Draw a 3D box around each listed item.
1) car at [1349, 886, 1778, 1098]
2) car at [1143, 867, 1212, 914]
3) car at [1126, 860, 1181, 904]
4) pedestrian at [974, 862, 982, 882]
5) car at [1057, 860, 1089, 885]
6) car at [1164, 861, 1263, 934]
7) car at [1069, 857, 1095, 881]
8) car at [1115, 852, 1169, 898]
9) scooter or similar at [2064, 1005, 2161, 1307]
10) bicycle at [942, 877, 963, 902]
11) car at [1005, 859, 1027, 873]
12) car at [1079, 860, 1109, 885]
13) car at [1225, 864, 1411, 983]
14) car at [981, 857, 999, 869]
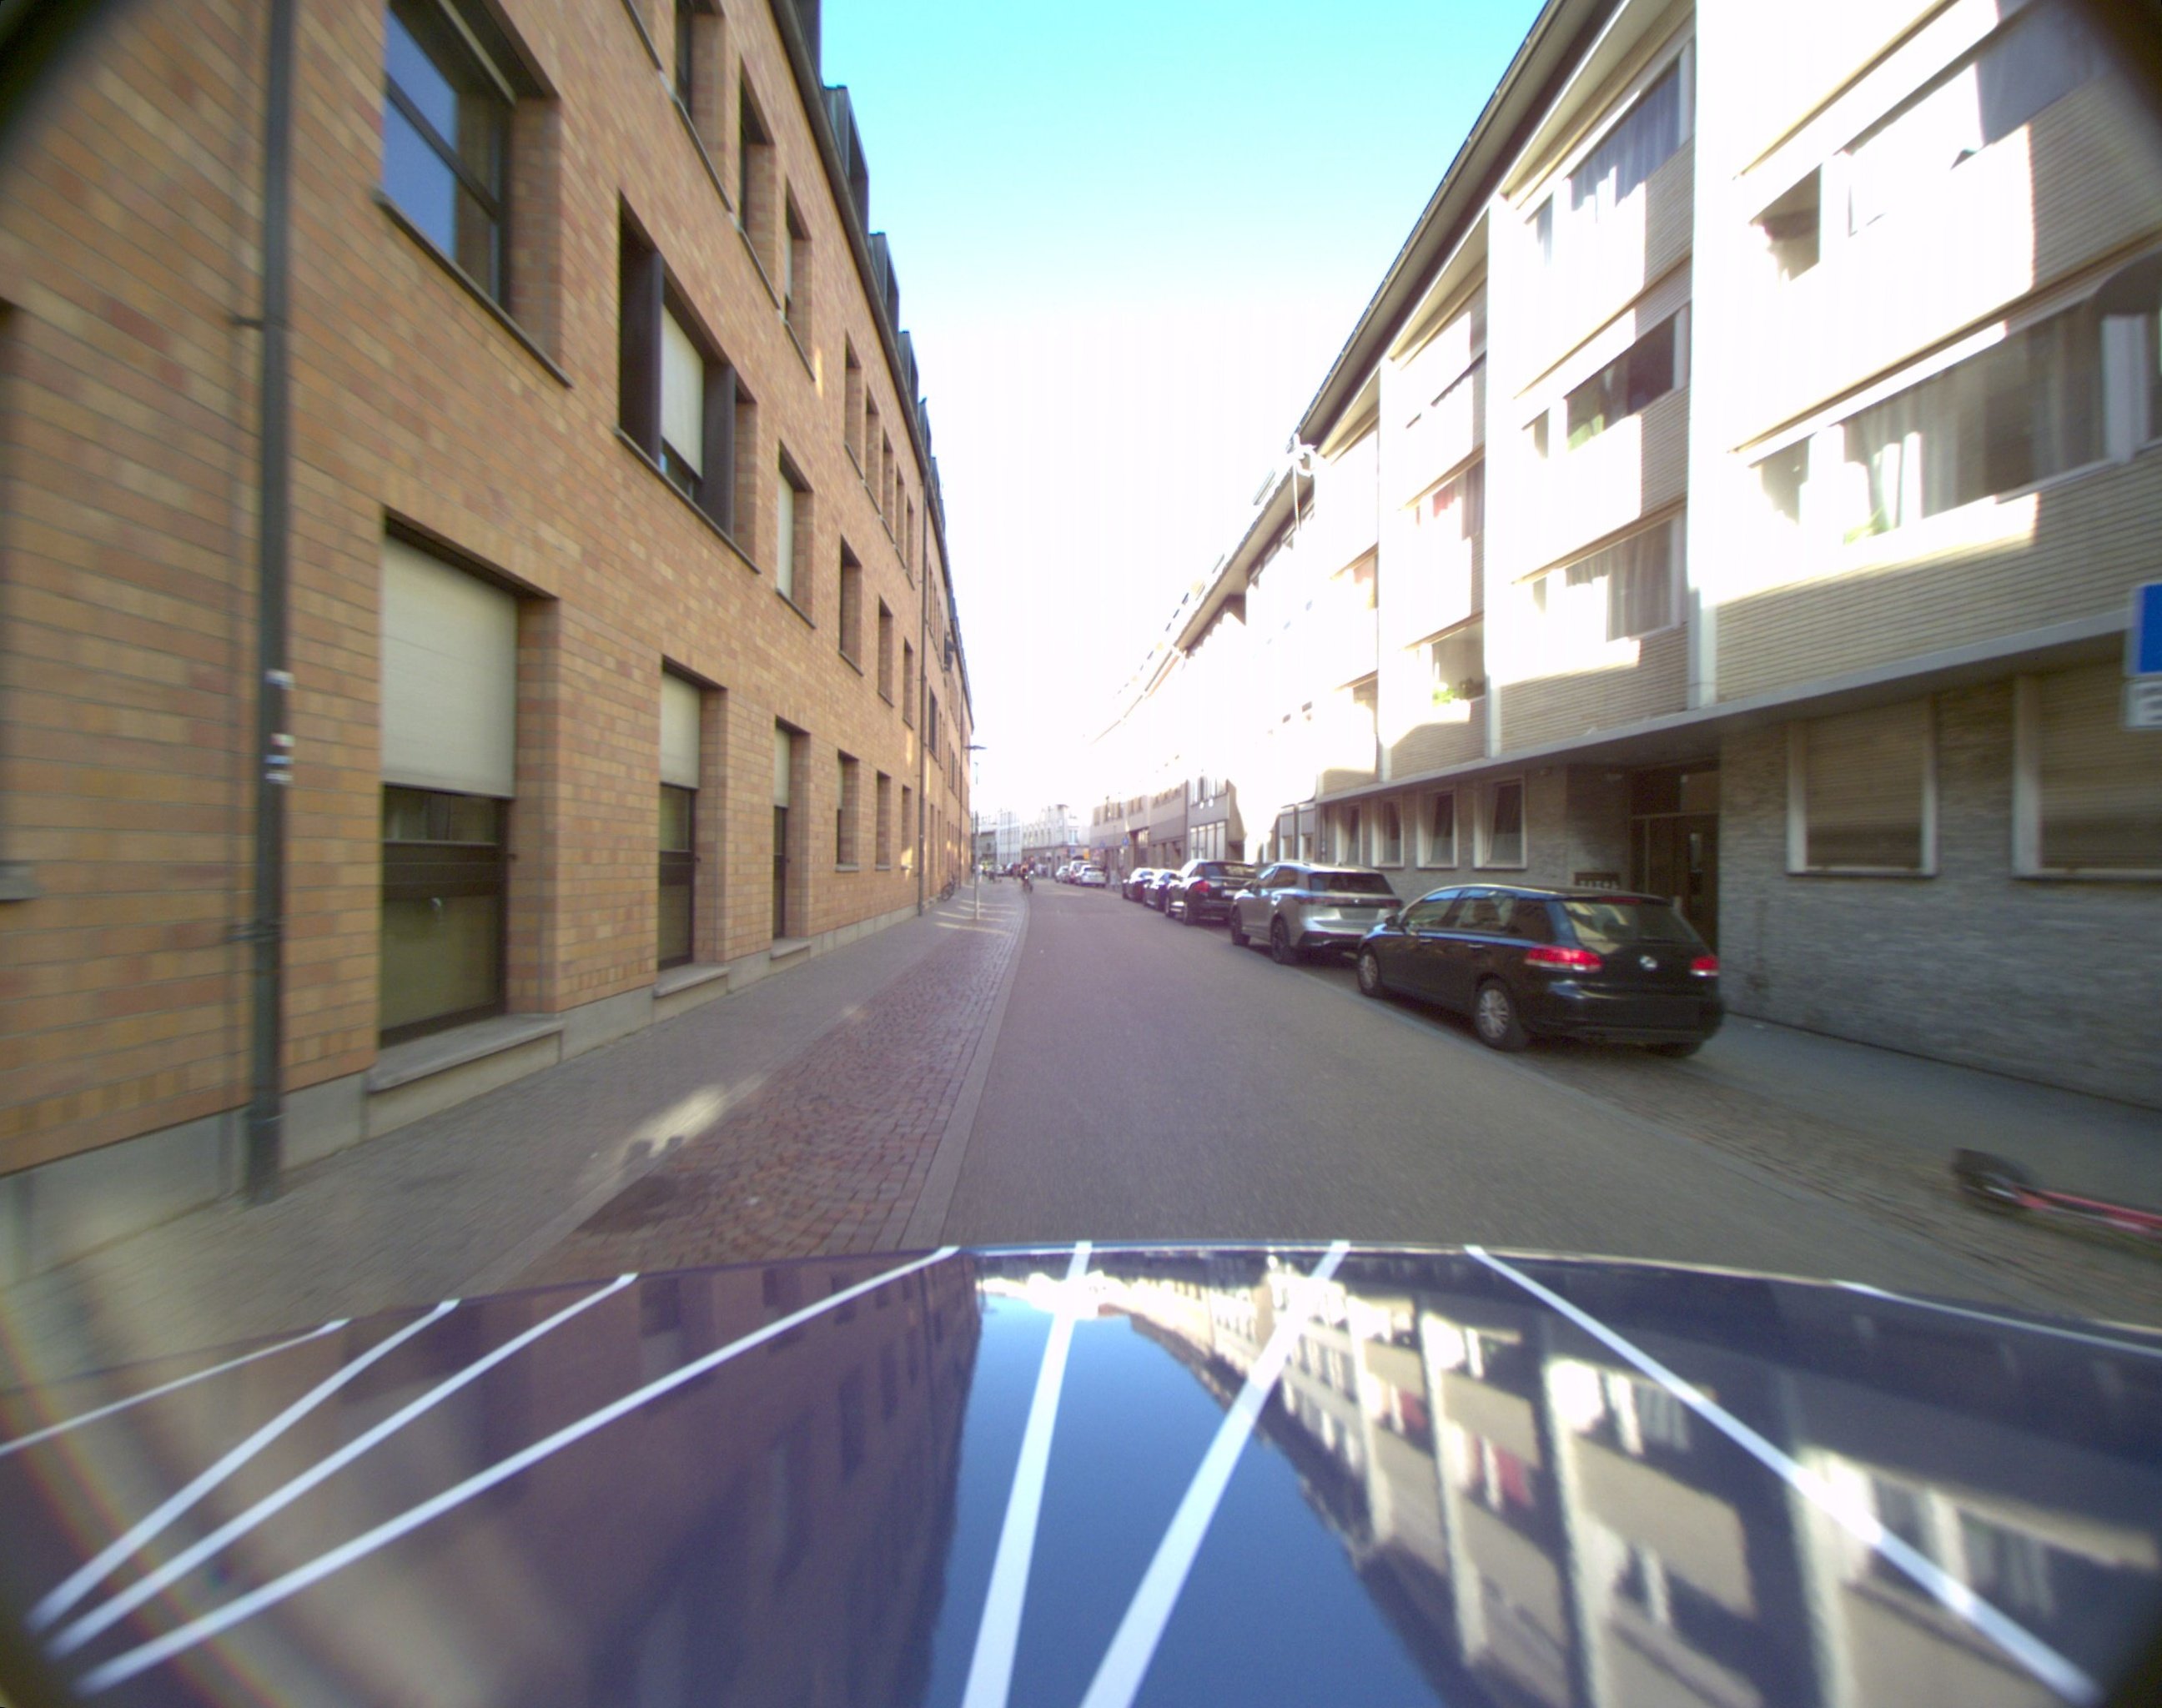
[{"bbox_3d":[4.348,1.133,7.673,1.740,1.477,3.811,2,-1,-3],"label":"car"},{"bbox_3d":[3.285,1.211,26.552,1.673,1.452,3.862,2,-1,-3],"label":"car"},{"bbox_3d":[2.982,1.132,31.996,1.673,1.694,4.012,2,-1,-3],"label":"car"},{"bbox_3d":[-7.967,1.415,58.616,0.543,1.535,0.405,1,0,-4],"label":"pedestrian"},{"bbox_3d":[-0.727,1.554,65.605,2.000,2.001,3.996,2,-1,-10],"label":"car"},{"bbox_3d":[3.410,1.061,20.281,1.673,1.694,4.012,2,-1,-3],"label":"car"},{"bbox_3d":[0.042,1.163,59.479,1.693,1.764,3.654,2,-1,-5],"label":"car"},{"bbox_3d":[2.835,0.961,36.101,1.999,2.001,3.999,2,-1,-3],"label":"car"},{"bbox_3d":[4.634,1.261,3.015,0.209,1.177,0.880,0,0,-43],"label":"scooter or similar"},{"bbox_3d":[-5.019,1.362,29.758,0.643,0.876,2.555,1,0,-6],"label":"bicycle"},{"bbox_3d":[-8.160,1.462,95.055,1.937,1.641,3.831,0,0,-17],"label":"car"},{"bbox_3d":[0.858,1.261,53.709,1.693,1.669,3.506,2,-1,-5],"label":"car"},{"bbox_3d":[3.828,1.038,13.030,1.673,1.651,4.080,2,-1,-3],"label":"car"},{"bbox_3d":[-13.324,1.308,110.899,1.937,1.641,3.831,1,0,-17],"label":"car"}]
